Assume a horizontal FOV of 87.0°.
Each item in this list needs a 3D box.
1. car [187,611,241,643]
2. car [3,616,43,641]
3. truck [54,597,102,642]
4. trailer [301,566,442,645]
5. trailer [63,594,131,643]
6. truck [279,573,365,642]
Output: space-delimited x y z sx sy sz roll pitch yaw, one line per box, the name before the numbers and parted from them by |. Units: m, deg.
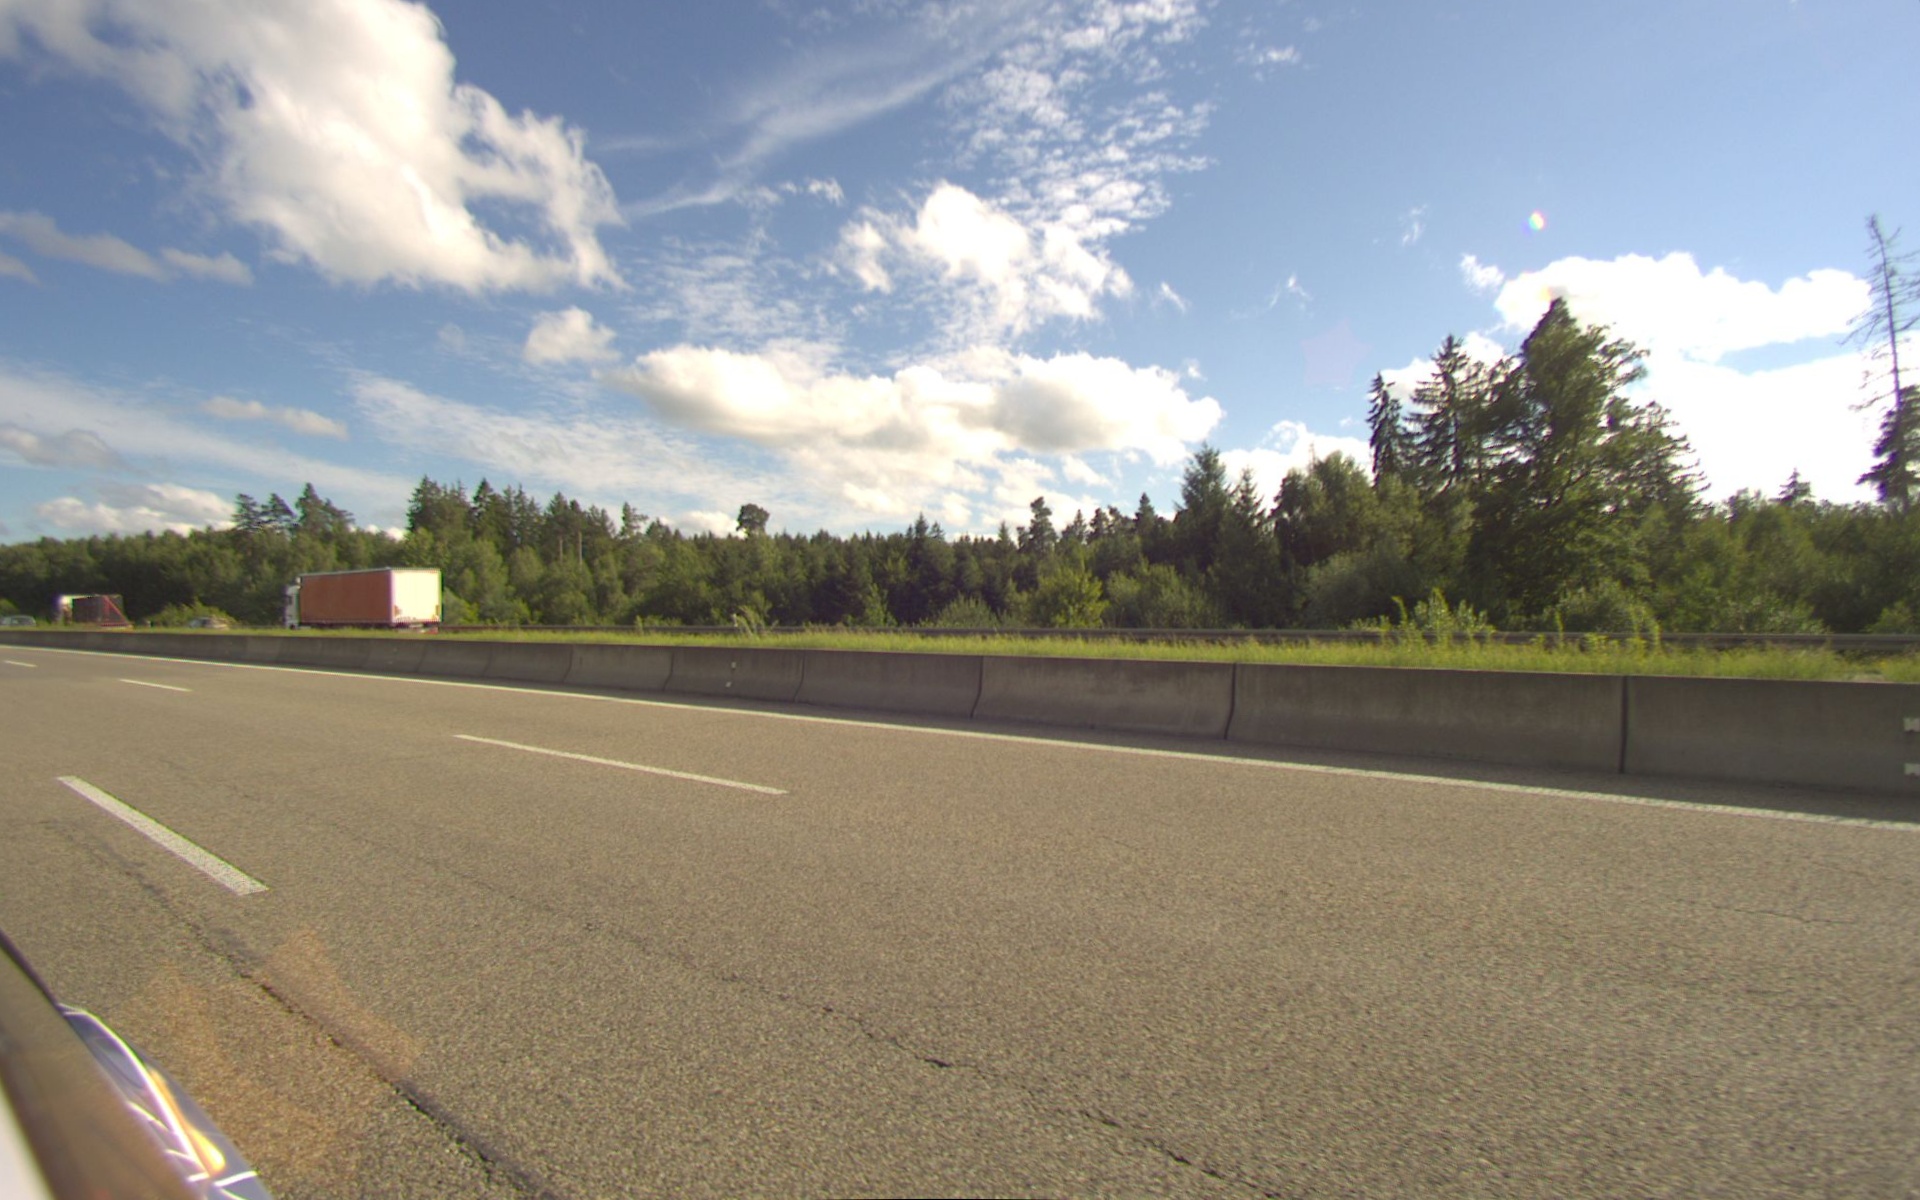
car | -48.460 1.730 65.741 3.997 2.029 1.973 -1 -1 40
car | -78.529 2.354 84.791 4.349 2.029 1.973 -1 -1 40
truck | -89.509 1.986 102.644 5.457 4.425 2.775 -2 -1 39
trailer | -34.257 0.386 58.568 12.782 4.140 2.990 -1 -1 40
trailer | -83.530 1.820 97.836 12.035 4.425 2.775 -1 -1 39
truck | -40.095 0.516 63.548 5.664 4.140 2.993 -1 -1 40
